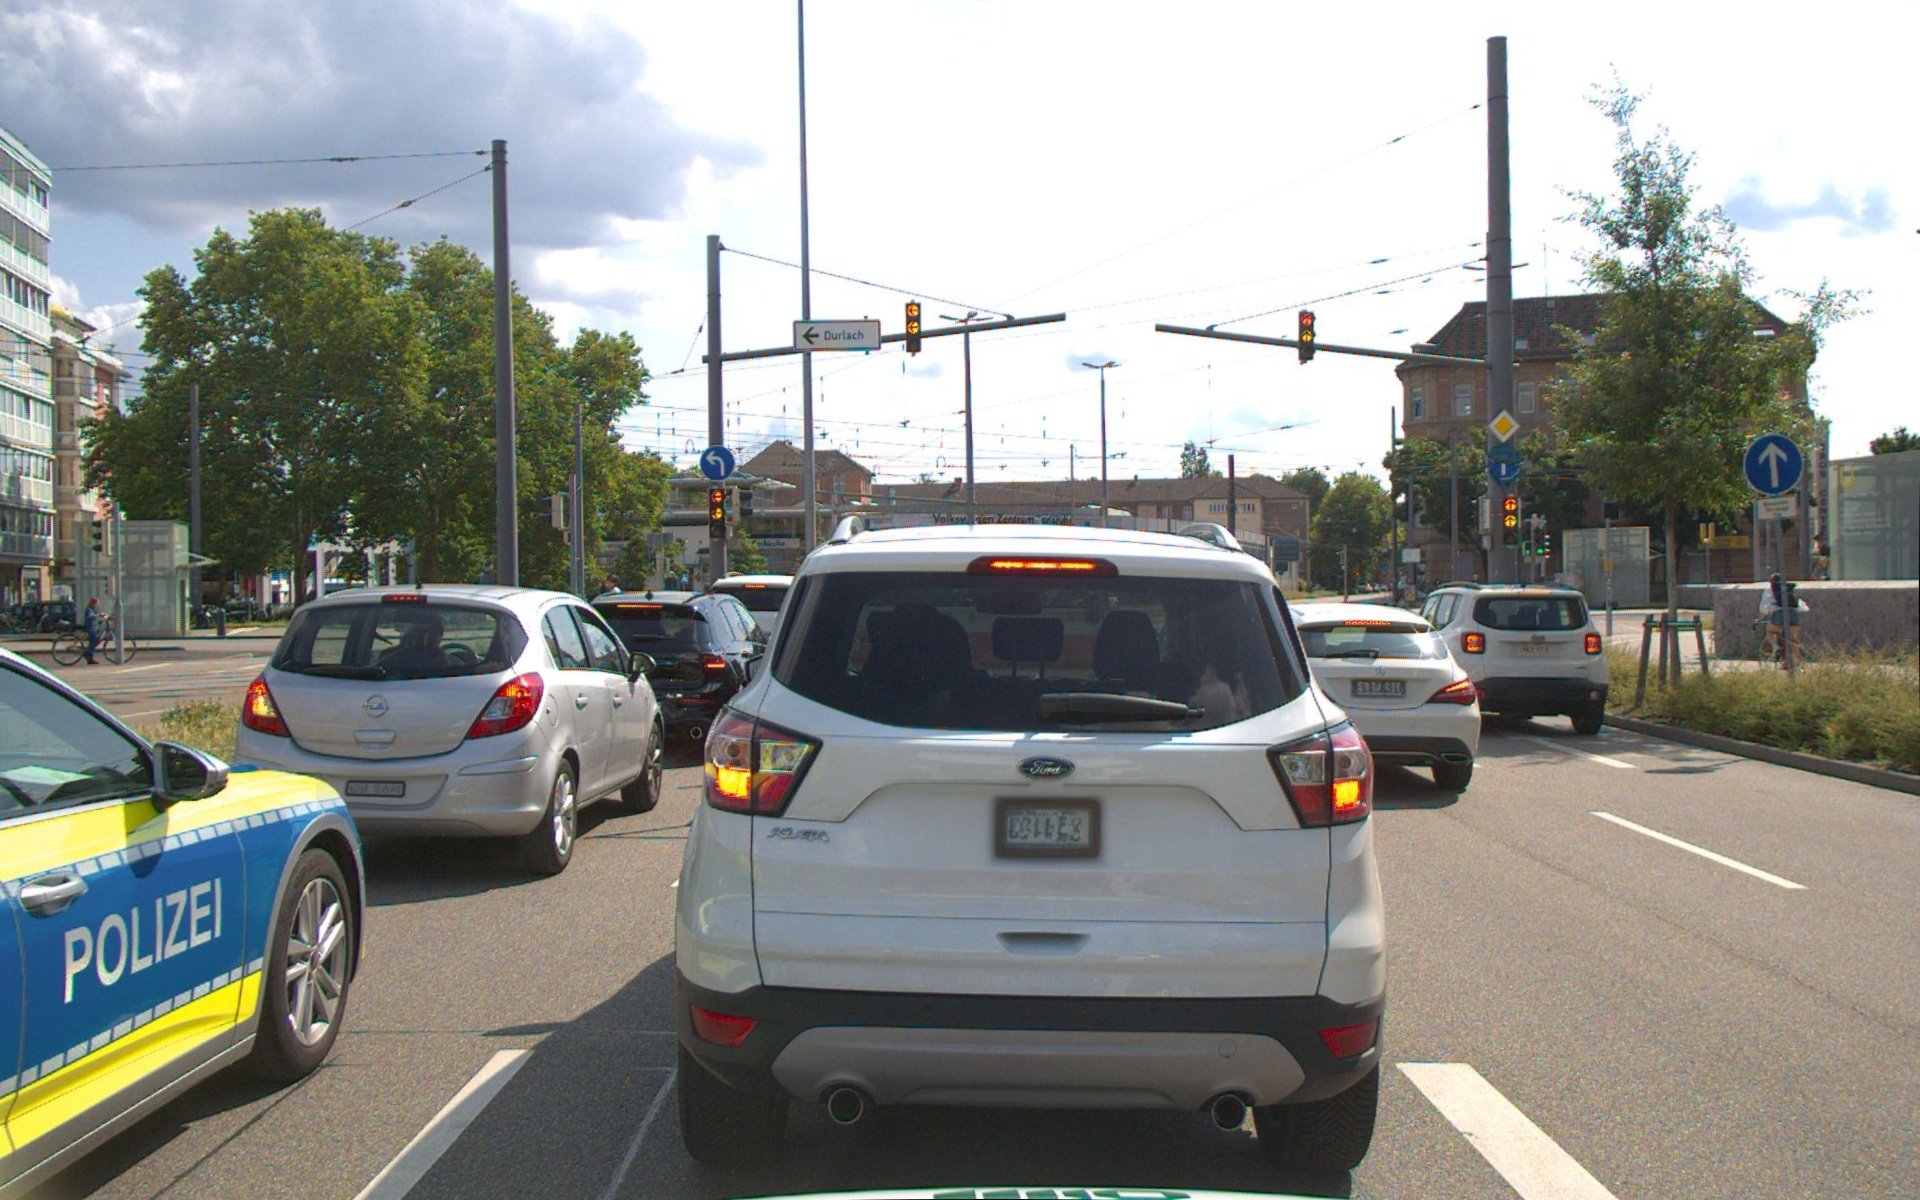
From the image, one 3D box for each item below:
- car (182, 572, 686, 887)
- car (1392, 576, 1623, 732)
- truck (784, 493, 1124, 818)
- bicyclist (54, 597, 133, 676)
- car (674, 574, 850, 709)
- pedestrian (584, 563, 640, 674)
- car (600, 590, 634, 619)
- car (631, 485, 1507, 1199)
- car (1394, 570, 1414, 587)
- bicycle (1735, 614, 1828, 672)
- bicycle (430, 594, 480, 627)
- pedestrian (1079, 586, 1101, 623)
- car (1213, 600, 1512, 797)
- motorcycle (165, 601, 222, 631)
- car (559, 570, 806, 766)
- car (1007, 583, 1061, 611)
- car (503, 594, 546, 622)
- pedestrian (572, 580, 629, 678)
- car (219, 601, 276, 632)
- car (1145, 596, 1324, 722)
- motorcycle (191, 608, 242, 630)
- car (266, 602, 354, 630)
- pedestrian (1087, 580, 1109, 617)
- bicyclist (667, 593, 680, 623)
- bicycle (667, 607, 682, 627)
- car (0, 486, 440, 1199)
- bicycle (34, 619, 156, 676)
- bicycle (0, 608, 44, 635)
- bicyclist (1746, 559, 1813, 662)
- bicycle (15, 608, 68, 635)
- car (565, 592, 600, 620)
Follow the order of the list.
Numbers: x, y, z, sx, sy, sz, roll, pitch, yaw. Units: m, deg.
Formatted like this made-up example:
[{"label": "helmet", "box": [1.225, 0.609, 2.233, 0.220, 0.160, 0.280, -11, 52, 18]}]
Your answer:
[{"label": "car", "box": [-2.874, 0.623, 10.012, 1.810, 1.500, 3.999, -1, 0, -1]}, {"label": "car", "box": [6.455, 0.592, 19.941, 1.797, 1.681, 4.002, 0, 0, 5]}, {"label": "truck", "box": [-0.014, 0.365, 14.139, 2.291, 2.193, 5.852, 0, 0, 0]}, {"label": "bicyclist", "box": [-19.956, 0.823, 38.128, 1.271, 1.761, 0.994, -1, 0, -3]}, {"label": "car", "box": [-2.518, 0.492, 22.072, 1.999, 1.606, 4.537, 0, 0, -3]}, {"label": "pedestrian", "box": [-6.250, 0.330, 29.755, 0.830, 1.950, 0.692, -1, -1, -1]}, {"label": "car", "box": [-25.533, 0.347, 123.242, 1.955, 2.049, 4.226, -2, -1, -5]}, {"label": "car", "box": [0.311, 0.613, 5.379, 1.789, 1.693, 3.957, 0, 0, 3]}, {"label": "car", "box": [45.618, -2.212, 169.859, 1.798, 1.681, 4.001, 0, 0, 19]}, {"label": "bicycle", "box": [12.062, 0.615, 24.329, 0.572, 0.789, 1.621, -1, 0, 1]}, {"label": "bicycle", "box": [-22.780, 0.465, 74.574, 2.133, 1.439, 0.809, 0, 1, -16]}, {"label": "pedestrian", "box": [6.291, 0.231, 80.207, 0.918, 1.774, 0.581, 1, -1, -40]}, {"label": "car", "box": [3.250, 0.724, 14.050, 1.811, 1.443, 3.680, 0, 0, 3]}, {"label": "motorcycle", "box": [-33.139, 0.685, 71.487, 2.165, 1.259, 0.906, -1, 1, 17]}, {"label": "car", "box": [-2.507, 0.551, 15.986, 1.727, 1.595, 4.525, -1, 0, -2]}, {"label": "car", "box": [4.236, -0.198, 93.747, 1.860, 1.487, 3.969, -2, 0, 21]}, {"label": "car", "box": [-32.720, 0.594, 124.293, 1.928, 1.971, 5.067, -2, -1, -1]}, {"label": "pedestrian", "box": [-6.276, 0.504, 28.896, 0.830, 1.676, 0.692, -1, -1, -1]}, {"label": "car", "box": [-35.668, 0.841, 82.893, 1.872, 1.438, 3.987, -1, -1, -12]}, {"label": "car", "box": [3.358, 0.675, 20.853, 1.811, 1.443, 3.680, 0, 0, 3]}, {"label": "motorcycle", "box": [-34.305, 0.872, 76.312, 0.795, 0.933, 2.037, 0, 1, 36]}, {"label": "car", "box": [-33.805, 0.843, 86.062, 3.907, 1.350, 1.632, -2, -1, -3]}, {"label": "pedestrian", "box": [6.644, -0.078, 79.505, 0.918, 1.774, 0.581, 1, -1, -39]}, {"label": "bicyclist", "box": [-16.833, 0.470, 97.254, 0.628, 1.768, 0.658, 0, 1, -20]}, {"label": "bicycle", "box": [-16.776, 0.985, 97.089, 0.628, 1.145, 1.775, 0, 1, -18]}, {"label": "car", "box": [-2.627, 0.605, 3.190, 1.842, 1.595, 4.614, -1, 0, -1]}, {"label": "bicycle", "box": [-19.923, 1.088, 38.137, 2.248, 1.209, 0.994, -1, 0, -4]}, {"label": "bicycle", "box": [-40.943, 0.930, 71.992, 1.776, 1.167, 0.792, -1, 0, -19]}, {"label": "bicyclist", "box": [12.054, 0.153, 24.338, 0.595, 1.476, 0.774, -1, 0, 0]}, {"label": "bicycle", "box": [-40.697, 0.954, 73.299, 1.914, 1.167, 0.792, -1, 0, -19]}, {"label": "car", "box": [-28.139, 0.475, 123.457, 1.929, 1.971, 4.226, -2, -1, -5]}]
